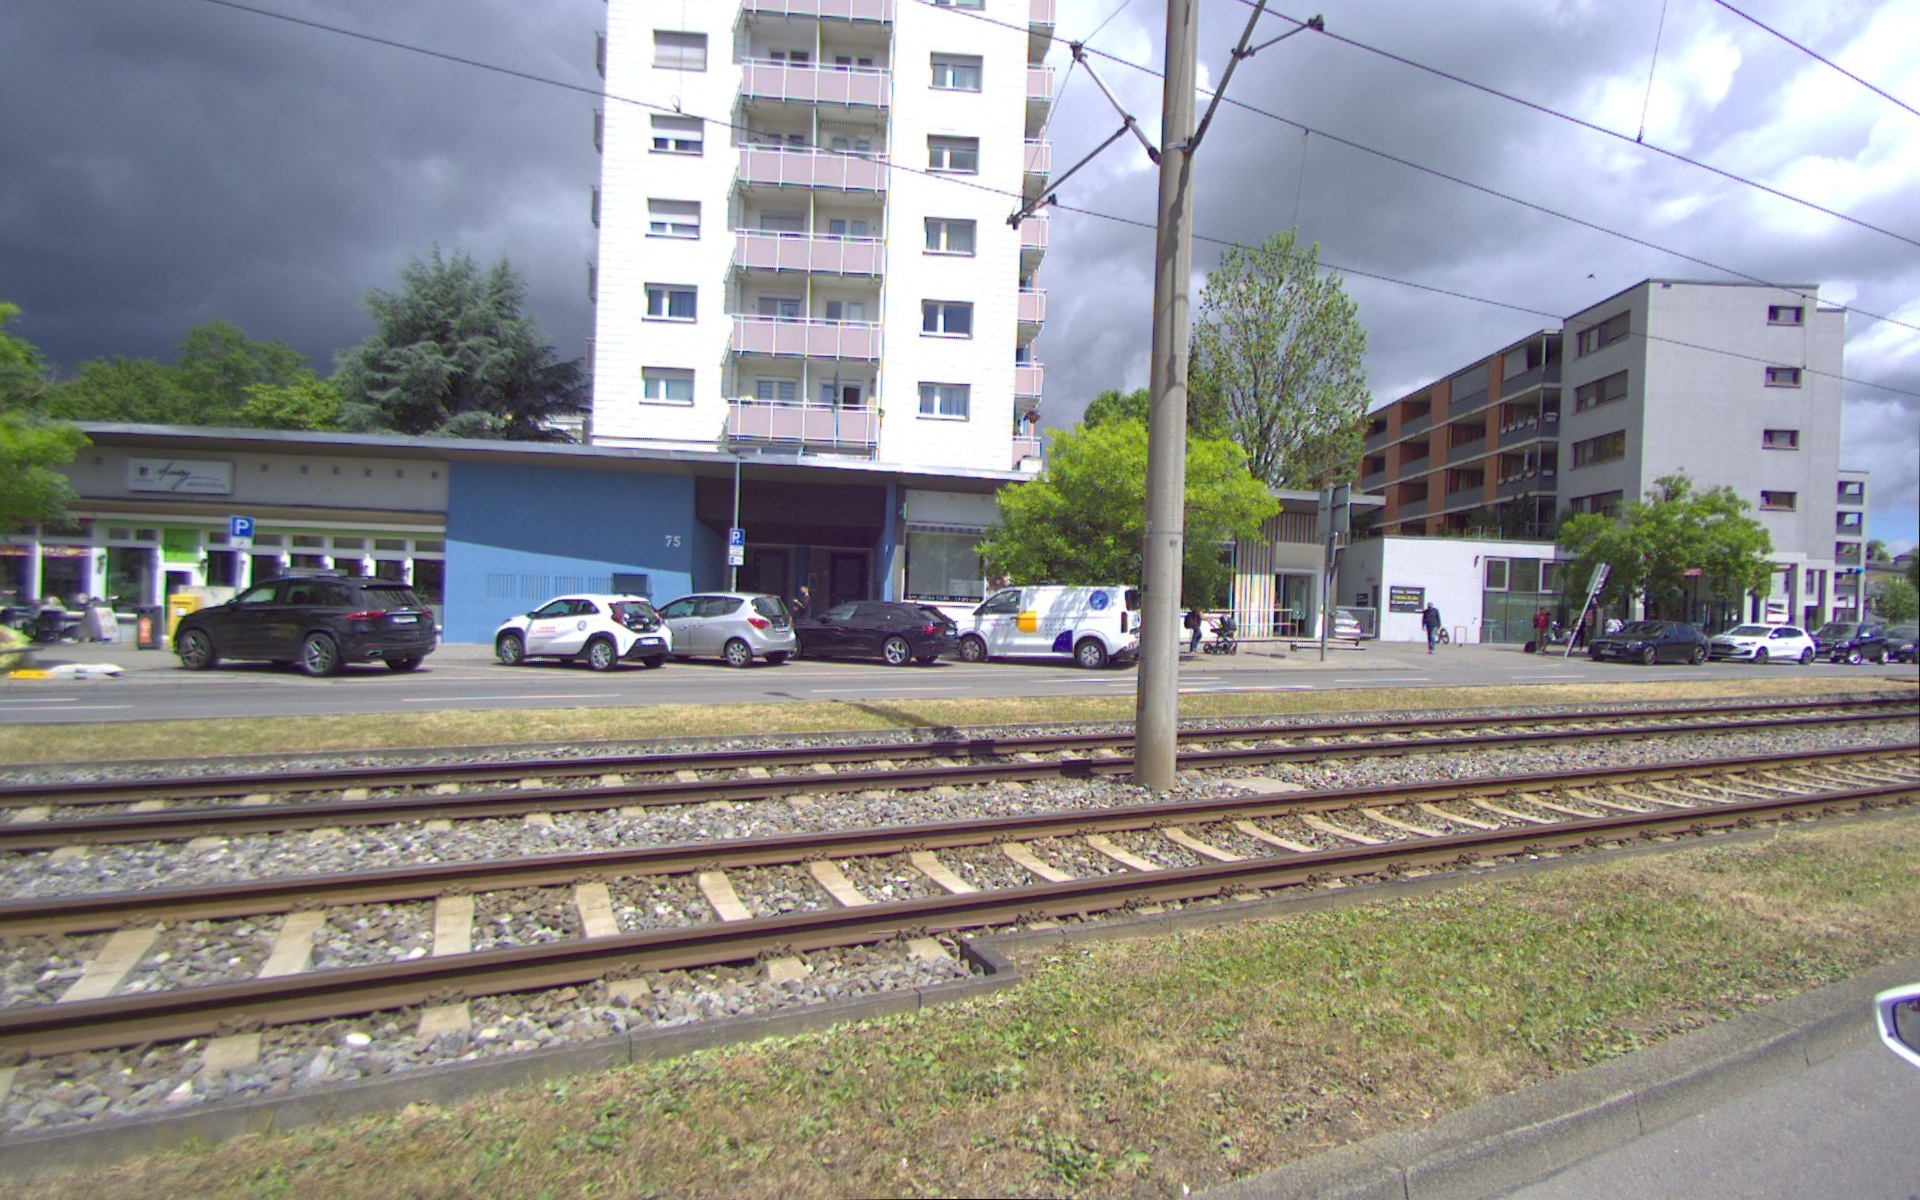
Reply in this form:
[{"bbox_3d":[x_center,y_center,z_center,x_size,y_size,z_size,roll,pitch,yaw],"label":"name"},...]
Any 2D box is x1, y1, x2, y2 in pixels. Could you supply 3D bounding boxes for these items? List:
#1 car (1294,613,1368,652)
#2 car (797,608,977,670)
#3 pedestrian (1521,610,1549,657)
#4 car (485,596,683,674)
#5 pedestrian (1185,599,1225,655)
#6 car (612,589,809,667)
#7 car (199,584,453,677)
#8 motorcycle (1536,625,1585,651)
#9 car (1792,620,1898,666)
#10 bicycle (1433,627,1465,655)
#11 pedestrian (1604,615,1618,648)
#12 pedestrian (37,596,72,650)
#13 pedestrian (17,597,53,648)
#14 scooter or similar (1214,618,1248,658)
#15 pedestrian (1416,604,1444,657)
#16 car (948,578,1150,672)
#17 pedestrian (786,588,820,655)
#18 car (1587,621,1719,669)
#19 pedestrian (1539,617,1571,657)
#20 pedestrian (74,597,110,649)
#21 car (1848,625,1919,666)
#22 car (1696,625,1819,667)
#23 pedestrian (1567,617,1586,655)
[{"bbox_3d":[14.969,1.278,40.720,1.959,1.462,4.359,0,-1,8],"label":"car"},{"bbox_3d":[-1.752,0.901,24.325,3.922,1.402,1.906,0,-1,22],"label":"car"},{"bbox_3d":[22.286,1.293,38.935,0.833,1.816,0.609,1,-1,-28],"label":"pedestrian"},{"bbox_3d":[-7.835,0.700,20.953,3.694,1.516,1.746,0,-1,24],"label":"car"},{"bbox_3d":[7.144,0.792,29.324,0.970,1.593,0.513,0,3,-17],"label":"pedestrian"},{"bbox_3d":[-5.623,0.618,22.796,3.920,1.653,1.907,0,-1,17],"label":"car"},{"bbox_3d":[-11.865,0.546,18.875,3.920,1.612,1.933,0,-1,16],"label":"car"},{"bbox_3d":[28.387,1.792,47.474,0.732,1.194,1.883,1,-1,-29],"label":"motorcycle"},{"bbox_3d":[35.533,1.694,40.321,4.051,1.685,1.984,1,1,-30],"label":"car"},{"bbox_3d":[22.706,1.885,46.638,0.656,1.228,1.974,0,-1,4],"label":"bicycle"},{"bbox_3d":[29.263,1.396,45.158,0.491,1.479,0.559,0,-1,35],"label":"pedestrian"},{"bbox_3d":[-25.254,0.639,28.009,0.564,1.492,0.523,1,-1,-24],"label":"pedestrian"},{"bbox_3d":[-26.972,0.653,29.290,0.515,1.492,0.572,0,-1,6],"label":"pedestrian"},{"bbox_3d":[7.982,1.104,29.578,0.757,1.140,0.579,0,3,-17],"label":"scooter or similar"},{"bbox_3d":[16.601,1.070,35.464,0.829,1.816,0.872,0,-1,32],"label":"pedestrian"},{"bbox_3d":[2.209,0.595,25.021,4.669,2.185,1.906,0,-1,22],"label":"car"},{"bbox_3d":[-4.464,0.614,28.547,0.876,1.845,0.769,1,-1,-15],"label":"pedestrian"},{"bbox_3d":[23.811,1.531,34.511,4.321,1.447,1.729,1,3,-25],"label":"car"},{"bbox_3d":[23.477,1.446,39.623,0.956,1.554,0.601,0,-1,-15],"label":"pedestrian"},{"bbox_3d":[-25.165,0.659,29.121,0.515,1.492,0.572,0,-1,3],"label":"pedestrian"},{"bbox_3d":[40.386,1.916,43.089,4.044,1.670,1.988,1,-1,-25],"label":"car"},{"bbox_3d":[29.989,1.717,37.790,4.336,1.495,1.751,1,-1,-22],"label":"car"},{"bbox_3d":[26.204,1.508,42.687,0.655,1.594,0.686,0,-1,35],"label":"pedestrian"}]
